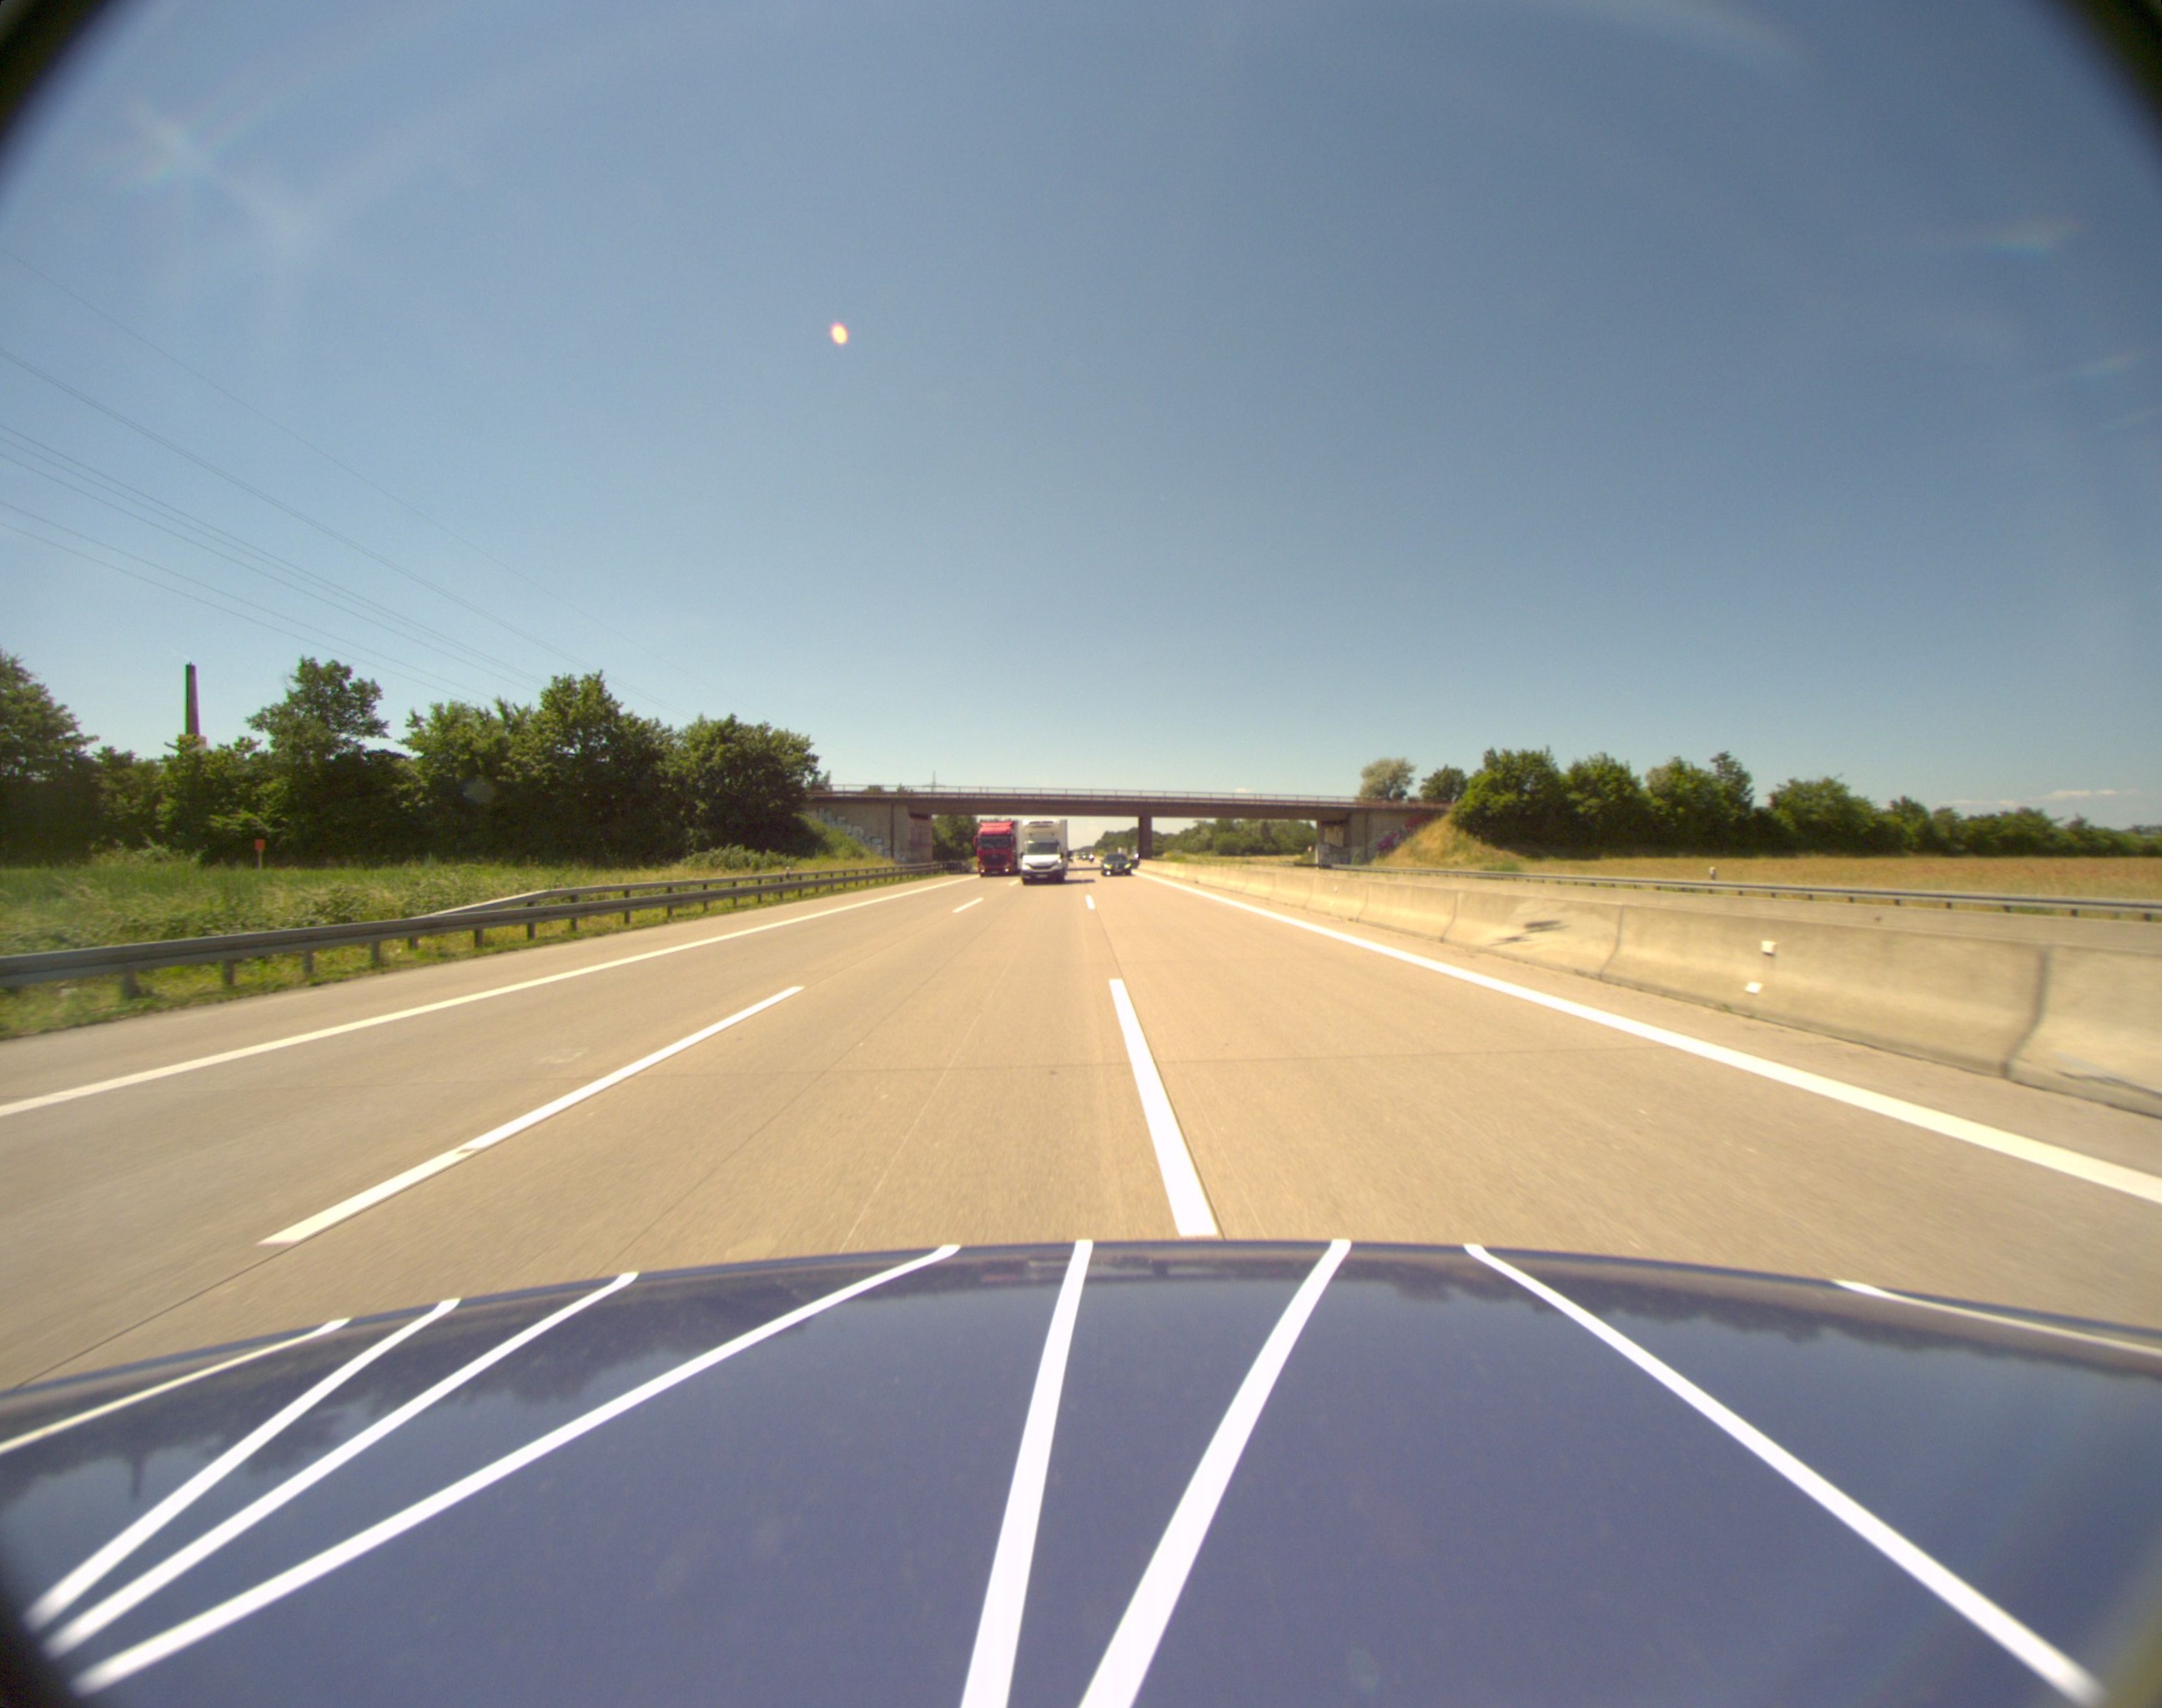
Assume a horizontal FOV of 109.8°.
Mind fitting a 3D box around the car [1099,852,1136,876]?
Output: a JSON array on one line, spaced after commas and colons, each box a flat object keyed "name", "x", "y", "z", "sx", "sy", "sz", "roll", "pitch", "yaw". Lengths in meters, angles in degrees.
[{"name": "car", "x": 2.383, "y": 0.610, "z": 50.998, "sx": 1.999, "sy": 1.462, "sz": 6.346, "roll": 0, "pitch": 0, "yaw": -1}]

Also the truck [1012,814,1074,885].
[{"name": "truck", "x": -1.890, "y": -0.255, "z": 40.795, "sx": 2.784, "sy": 3.328, "sz": 7.812, "roll": -2, "pitch": 1, "yaw": 0}]

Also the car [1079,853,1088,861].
[{"name": "car", "x": 0.483, "y": 0.543, "z": 147.562, "sx": 1.558, "sy": 1.440, "sz": 3.776, "roll": -2, "pitch": 1, "yaw": 1}]

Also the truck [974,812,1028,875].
[{"name": "truck", "x": -5.988, "y": -0.792, "z": 58.515, "sx": 2.856, "sy": 4.298, "sz": 10.884, "roll": -2, "pitch": 1, "yaw": 0}]

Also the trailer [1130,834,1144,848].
[{"name": "trailer", "x": 17.263, "y": -4.016, "z": 236.132, "sx": 3.273, "sy": 4.354, "sz": 13.500, "roll": -2, "pitch": 1, "yaw": 0}]

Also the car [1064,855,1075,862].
[{"name": "car", "x": -1.872, "y": 0.720, "z": 122.978, "sx": 1.545, "sy": 1.098, "sz": 3.054, "roll": -2, "pitch": 1, "yaw": 1}]

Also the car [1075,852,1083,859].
[{"name": "car", "x": -0.447, "y": 0.321, "z": 181.779, "sx": 1.683, "sy": 1.444, "sz": 3.563, "roll": -2, "pitch": 1, "yaw": 1}]
